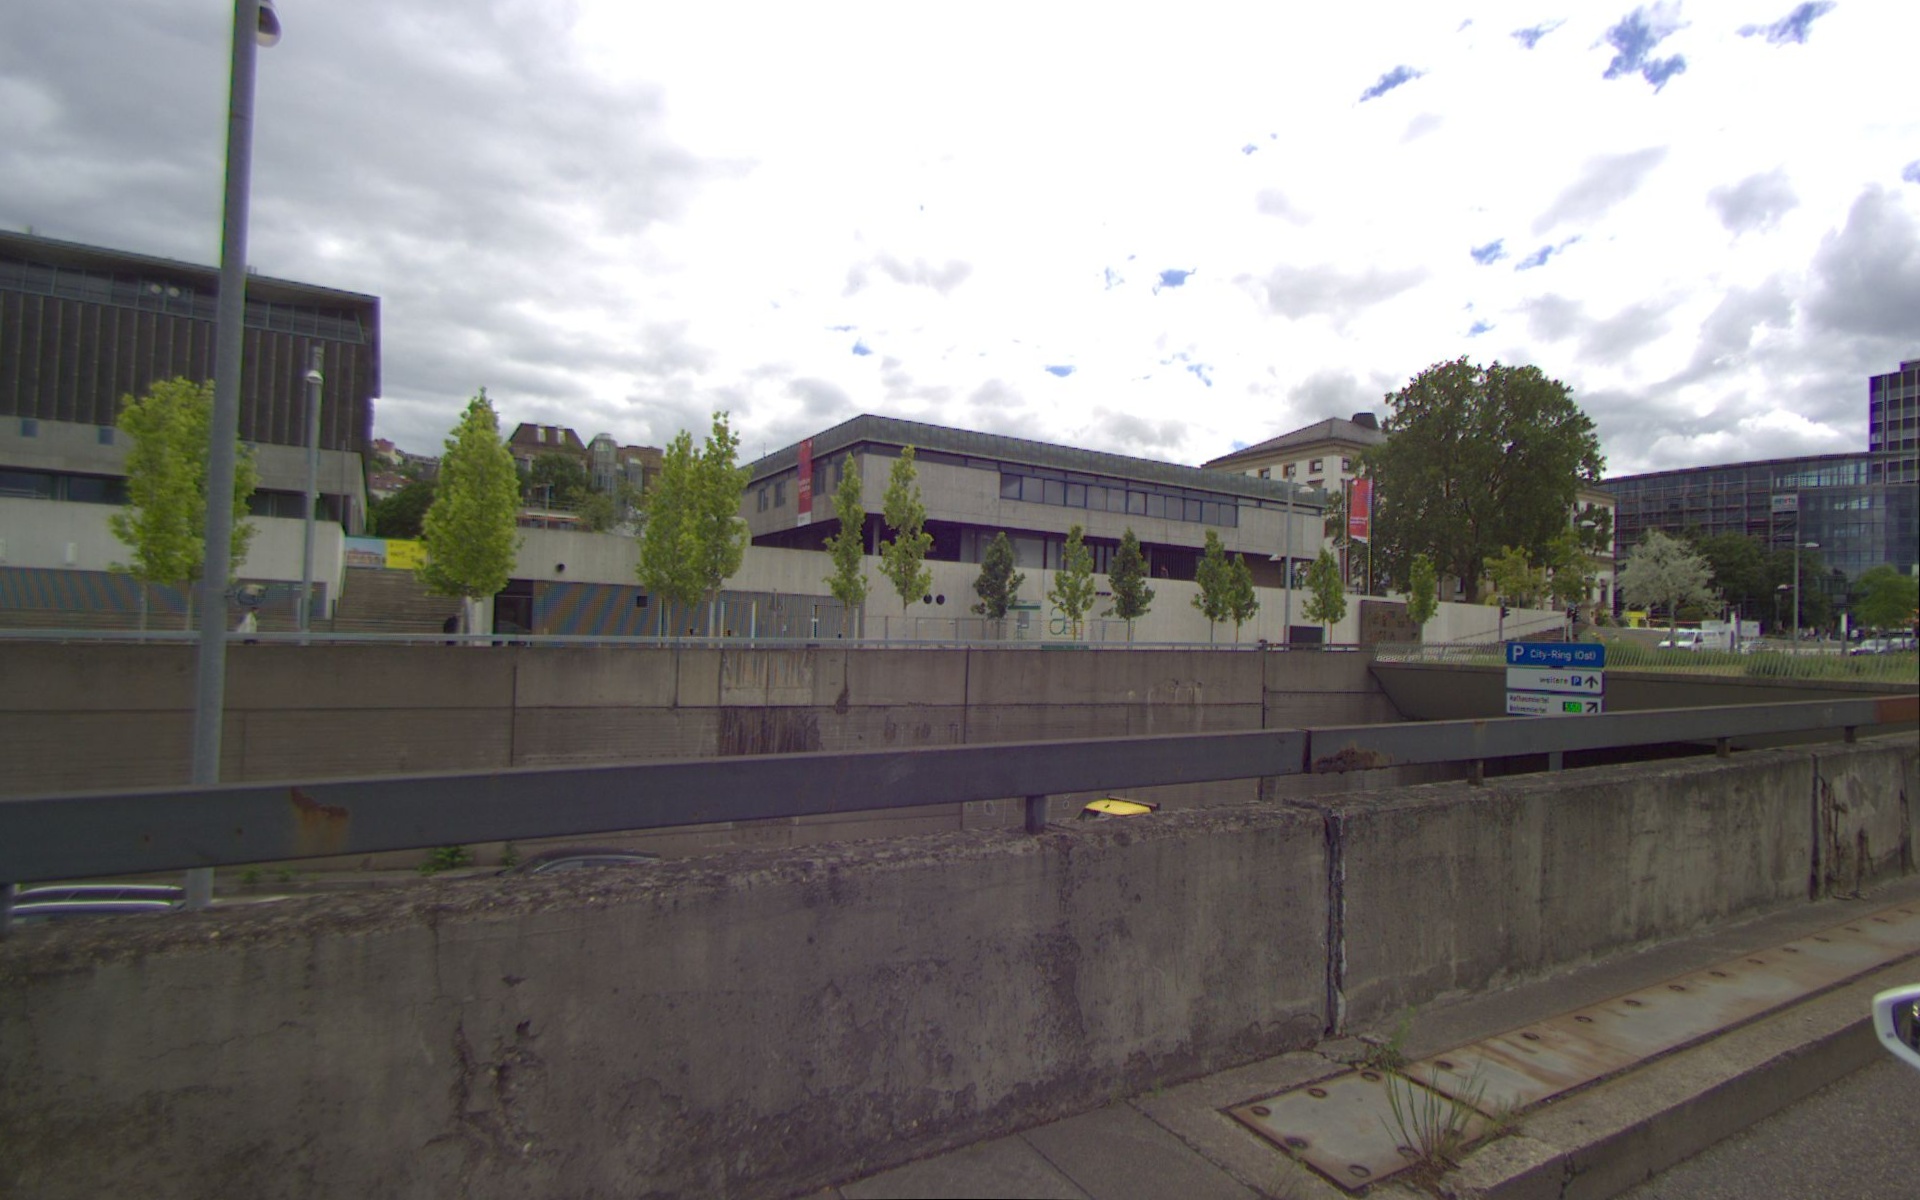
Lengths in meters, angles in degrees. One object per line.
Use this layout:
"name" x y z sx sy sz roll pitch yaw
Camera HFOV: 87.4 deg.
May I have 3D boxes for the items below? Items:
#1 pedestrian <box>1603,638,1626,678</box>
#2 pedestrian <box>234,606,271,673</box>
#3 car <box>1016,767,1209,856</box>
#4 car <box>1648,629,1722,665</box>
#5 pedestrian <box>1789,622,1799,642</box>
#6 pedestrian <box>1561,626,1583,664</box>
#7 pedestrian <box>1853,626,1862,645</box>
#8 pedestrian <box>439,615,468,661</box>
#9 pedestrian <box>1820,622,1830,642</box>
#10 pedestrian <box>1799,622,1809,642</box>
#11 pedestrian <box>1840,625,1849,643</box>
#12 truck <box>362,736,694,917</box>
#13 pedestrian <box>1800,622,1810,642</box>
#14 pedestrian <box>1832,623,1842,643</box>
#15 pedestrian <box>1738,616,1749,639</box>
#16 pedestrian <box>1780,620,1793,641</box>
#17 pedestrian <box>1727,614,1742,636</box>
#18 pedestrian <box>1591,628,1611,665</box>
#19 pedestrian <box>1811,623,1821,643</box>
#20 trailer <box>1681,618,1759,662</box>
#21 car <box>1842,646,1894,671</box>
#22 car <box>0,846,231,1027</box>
"pedestrian" 33.798 2.978 51.858 0.845 2.040 0.629 0 -1 17
"pedestrian" -21.896 1.223 31.088 0.782 2.040 0.736 0 -1 -24
"car" 3.822 5.208 25.087 4.345 1.789 2.153 6 -5 -30
"car" 44.649 2.877 61.836 4.635 2.040 1.985 0 0 -30
"pedestrian" 86.443 3.288 104.052 0.729 2.040 0.917 -1 -1 37
"pedestrian" 33.032 2.402 54.229 0.820 2.040 0.793 0 -1 19
"pedestrian" 98.637 3.863 110.381 0.731 2.040 0.788 -1 -1 45
"pedestrian" -18.761 1.406 37.188 0.779 1.664 0.739 0 -1 -11
"pedestrian" 88.753 3.291 103.050 0.731 2.040 0.788 -1 -1 45
"pedestrian" 85.970 3.253 102.286 0.730 2.040 0.916 -1 -1 41
"pedestrian" 97.902 3.752 111.164 0.731 2.040 0.788 -1 -1 45
"truck" -7.825 3.938 18.404 5.319 2.432 2.171 2 -1 -32
"pedestrian" 86.691 3.296 103.014 0.729 2.040 0.916 -1 -1 39
"pedestrian" 90.070 3.364 103.200 0.731 2.040 0.788 -1 -1 45
"pedestrian" 70.475 2.501 90.365 0.730 2.040 0.789 1 -3 42
"pedestrian" 82.298 3.018 100.011 0.783 2.040 0.735 0 -1 -29
"pedestrian" 70.676 2.260 91.675 1.103 2.040 0.734 0 -1 -35
"pedestrian" 36.076 2.598 56.573 0.623 2.041 0.724 -4 2 -37
"pedestrian" 87.050 3.324 102.119 0.729 2.040 1.078 -1 -1 39
"trailer" 48.894 2.541 64.576 5.443 2.640 2.027 1 1 -30
"car" 62.755 4.026 69.433 3.556 1.514 1.723 3 0 -32
"car" -11.600 4.209 12.538 3.866 1.562 1.703 3 0 -33
